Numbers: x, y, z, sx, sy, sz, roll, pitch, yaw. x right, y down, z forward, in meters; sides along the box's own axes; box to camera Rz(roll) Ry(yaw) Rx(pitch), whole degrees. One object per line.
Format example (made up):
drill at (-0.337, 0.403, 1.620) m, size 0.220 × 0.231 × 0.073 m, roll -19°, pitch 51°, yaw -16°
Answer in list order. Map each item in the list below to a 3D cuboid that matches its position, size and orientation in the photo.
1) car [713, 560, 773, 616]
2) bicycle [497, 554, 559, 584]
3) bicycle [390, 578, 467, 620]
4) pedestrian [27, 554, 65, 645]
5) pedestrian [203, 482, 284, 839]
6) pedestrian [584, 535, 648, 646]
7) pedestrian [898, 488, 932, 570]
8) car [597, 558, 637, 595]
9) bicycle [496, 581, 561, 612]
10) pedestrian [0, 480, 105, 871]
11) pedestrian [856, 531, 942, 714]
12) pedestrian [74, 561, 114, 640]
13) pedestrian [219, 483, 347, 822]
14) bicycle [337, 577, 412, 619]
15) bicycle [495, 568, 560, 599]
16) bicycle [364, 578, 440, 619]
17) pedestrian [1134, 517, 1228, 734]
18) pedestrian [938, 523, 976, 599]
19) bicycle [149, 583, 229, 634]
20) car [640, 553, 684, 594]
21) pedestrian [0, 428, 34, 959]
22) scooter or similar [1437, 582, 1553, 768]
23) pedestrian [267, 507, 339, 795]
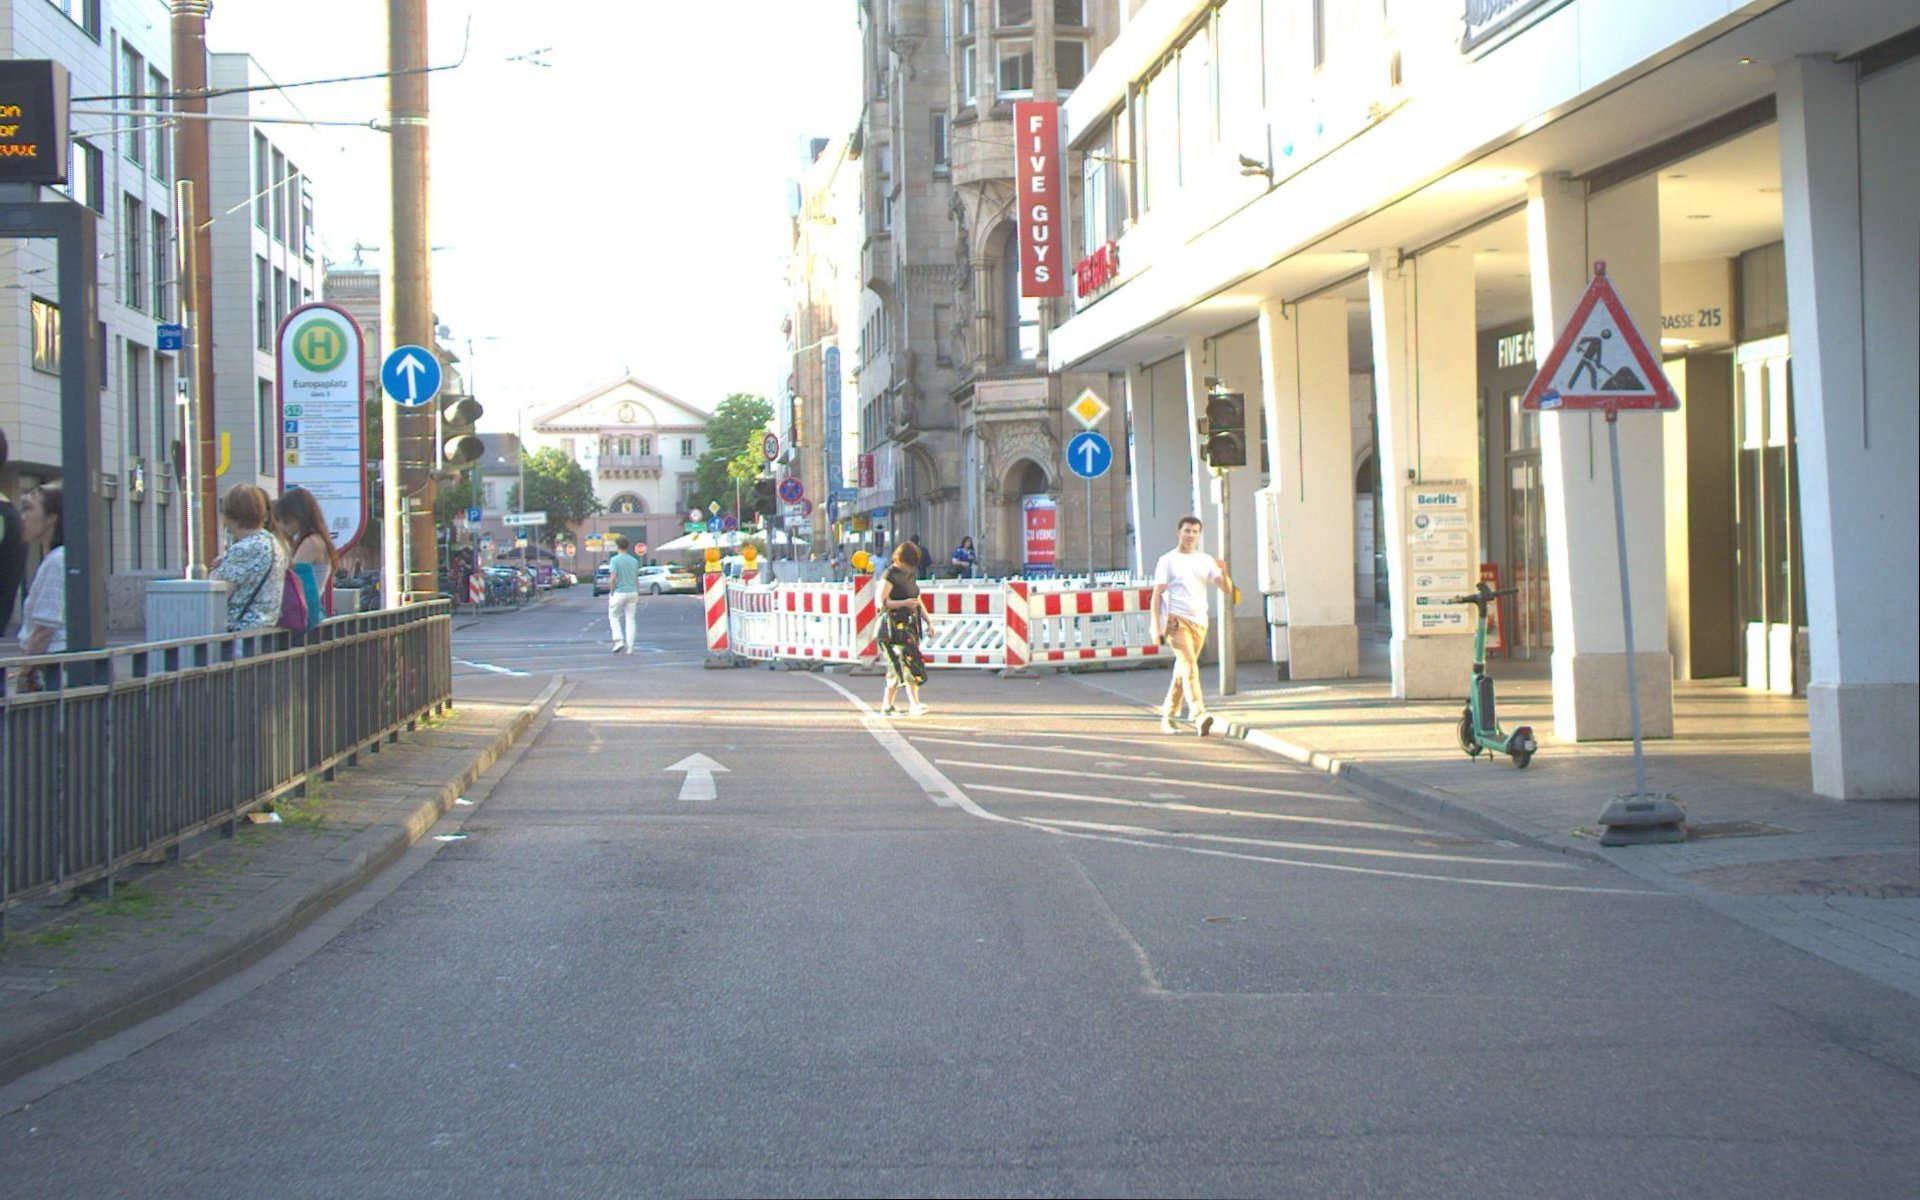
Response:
car at (-6.674, -0.376, 105.343) m, size 1.678 × 1.608 × 4.029 m, roll -2°, pitch 1°, yaw -5°
bicycle at (-15.355, -1.104, 122.264) m, size 2.148 × 1.026 × 0.640 m, roll -1°, pitch 0°, yaw -3°
bicycle at (-14.164, -0.024, 91.608) m, size 1.967 × 1.118 × 0.558 m, roll 0°, pitch 0°, yaw -33°
pedestrian at (-16.891, -0.013, 63.533) m, size 0.528 × 1.668 × 0.651 m, roll -1°, pitch 1°, yaw -4°
pedestrian at (-3.644, 0.301, 17.504) m, size 0.341 × 1.789 × 0.544 m, roll 0°, pitch 0°, yaw -6°
pedestrian at (-5.508, -0.157, 55.079) m, size 0.866 × 1.755 × 0.767 m, roll 0°, pitch 0°, yaw 8°
pedestrian at (-0.942, -1.471, 71.582) m, size 0.625 × 1.684 × 0.671 m, roll -1°, pitch 0°, yaw -6°
car at (-17.825, -1.213, 178.693) m, size 1.993 × 1.897 × 4.001 m, roll 0°, pitch 0°, yaw -5°
bicycle at (-14.970, -0.125, 119.285) m, size 2.148 × 1.026 × 0.640 m, roll -1°, pitch 0°, yaw -3°
pedestrian at (-3.887, 0.315, 14.659) m, size 0.385 × 1.636 × 0.549 m, roll 0°, pitch 0°, yaw -6°
pedestrian at (-0.567, 0.208, 32.008) m, size 0.699 × 1.687 × 0.541 m, roll 0°, pitch 0°, yaw -12°
pedestrian at (-19.300, 0.005, 76.592) m, size 0.781 × 1.745 × 0.600 m, roll 0°, pitch 0°, yaw -7°
pedestrian at (-3.576, 0.269, 18.194) m, size 0.539 × 1.761 × 0.594 m, roll 0°, pitch 0°, yaw 1°
bicycle at (-15.968, -0.049, 93.802) m, size 1.967 × 1.118 × 0.558 m, roll 0°, pitch 0°, yaw -33°
bicycle at (-14.899, -0.573, 118.488) m, size 2.148 × 1.026 × 0.640 m, roll -1°, pitch 0°, yaw -3°
bicycle at (-15.093, -0.038, 93.011) m, size 1.967 × 1.118 × 0.558 m, roll 0°, pitch 0°, yaw -33°
pedestrian at (1.864, 0.209, 29.068) m, size 0.699 × 1.809 × 0.852 m, roll 0°, pitch 0°, yaw -2°
pedestrian at (-0.060, -0.836, 73.386) m, size 0.711 × 1.605 × 0.822 m, roll 0°, pitch 0°, yaw -7°
bicycle at (-17.264, 0.187, 76.994) m, size 1.696 × 1.118 × 0.451 m, roll 0°, pitch 0°, yaw -2°
car at (-13.960, -1.242, 161.044) m, size 1.993 × 1.897 × 4.001 m, roll 0°, pitch 0°, yaw -5°
pedestrian at (-3.408, 0.307, 11.677) m, size 0.412 × 1.761 × 0.594 m, roll 0°, pitch 0°, yaw -6°
scooter or similar at (3.660, 0.499, 23.575) m, size 0.505 × 1.230 × 1.180 m, roll -1°, pitch 1°, yaw -5°
pedestrian at (-3.779, 0.288, 19.787) m, size 0.356 × 1.636 × 0.503 m, roll 0°, pitch 0°, yaw -6°
